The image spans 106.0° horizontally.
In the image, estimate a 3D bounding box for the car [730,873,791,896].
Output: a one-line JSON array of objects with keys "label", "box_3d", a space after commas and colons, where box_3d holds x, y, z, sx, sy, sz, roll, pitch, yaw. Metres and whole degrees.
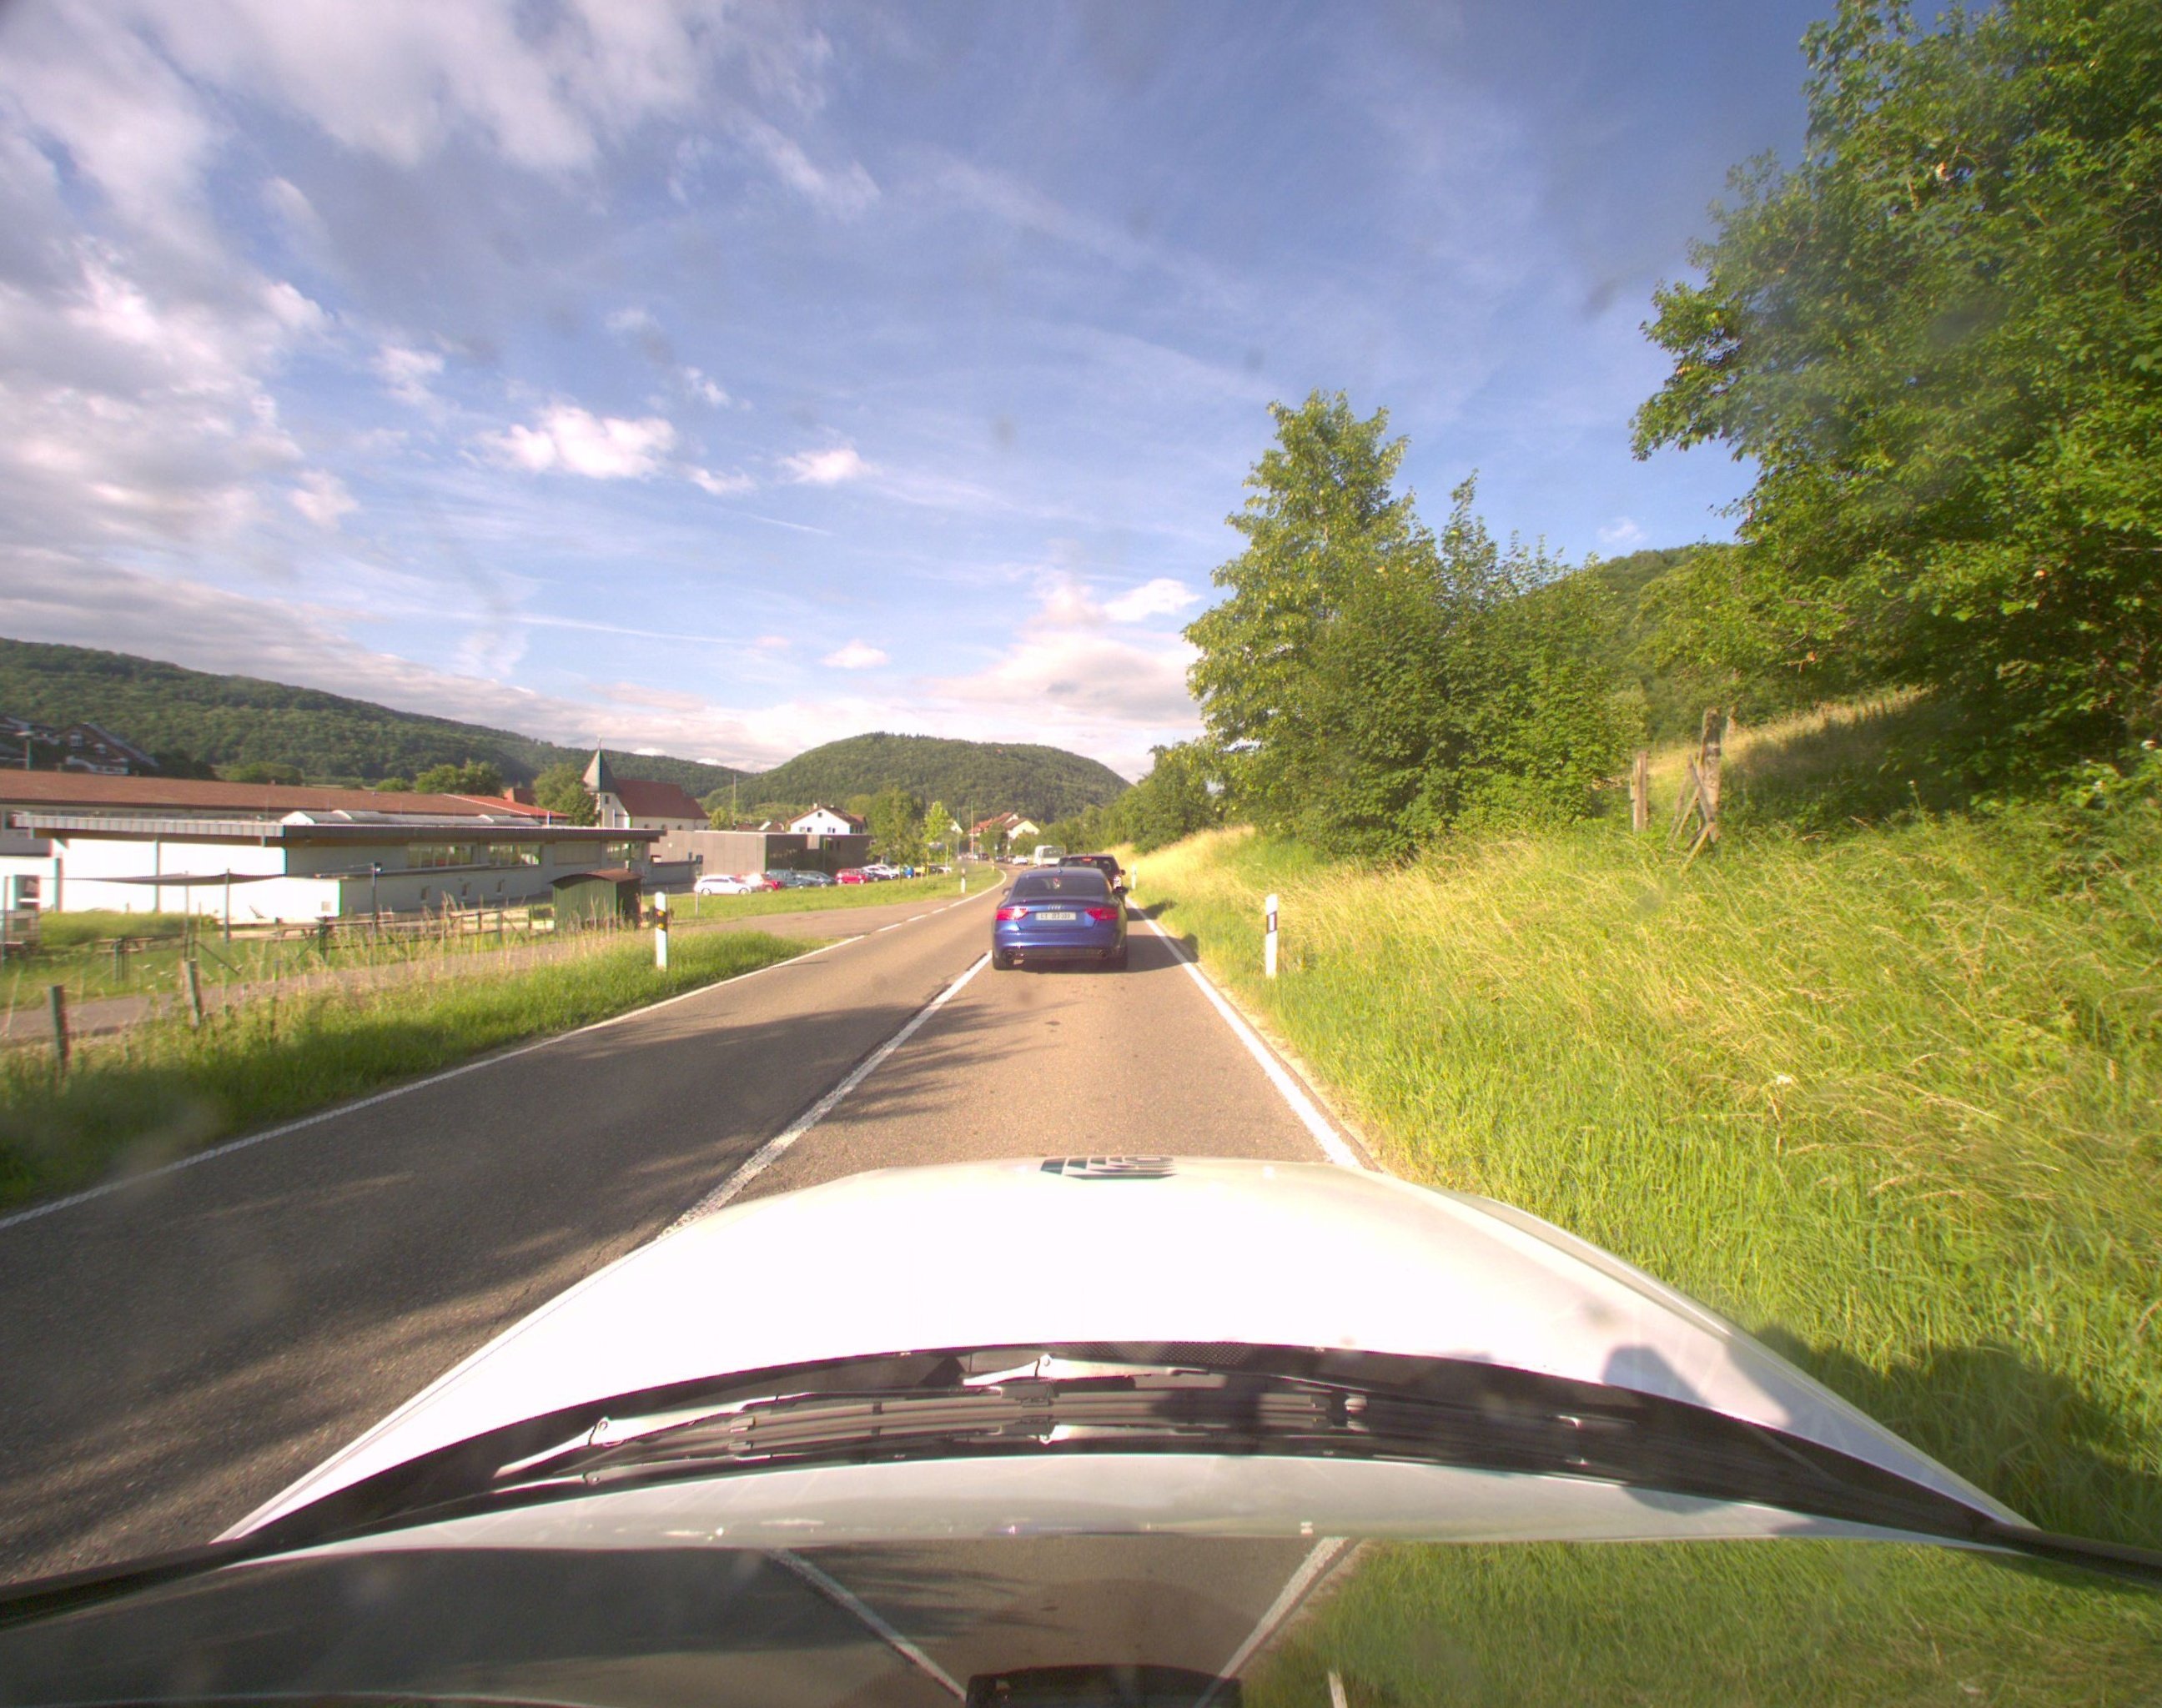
[{"label": "car", "box_3d": [-25.175, 2.397, 64.088, 3.975, 1.711, 1.999, 0, -1, -1]}]

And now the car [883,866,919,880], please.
[{"label": "car", "box_3d": [-22.495, 2.347, 101.937, 3.975, 1.711, 1.999, 0, -1, -1]}]

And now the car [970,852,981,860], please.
[{"label": "car", "box_3d": [-22.713, 0.385, 174.998, 1.850, 1.712, 3.977, 0, -1, -17]}]

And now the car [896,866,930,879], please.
[{"label": "car", "box_3d": [-21.578, 2.367, 104.590, 3.975, 1.711, 1.999, 0, -1, -1]}]

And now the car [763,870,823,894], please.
[{"label": "car", "box_3d": [-24.670, 2.384, 69.891, 4.393, 2.008, 1.999, 0, -1, -1]}]

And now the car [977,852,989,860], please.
[{"label": "car", "box_3d": [-19.933, 0.436, 165.413, 1.850, 1.712, 3.976, 0, -1, -17]}]

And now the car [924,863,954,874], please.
[{"label": "car", "box_3d": [-20.735, 2.066, 119.148, 3.975, 1.579, 1.752, 0, -1, -1]}]

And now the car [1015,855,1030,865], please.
[{"label": "car", "box_3d": [-8.564, 0.880, 119.023, 1.845, 1.482, 3.987, 0, -1, -9]}]

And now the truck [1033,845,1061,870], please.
[{"label": "truck", "box_3d": [-3.619, 0.390, 85.641, 2.229, 2.570, 6.687, 0, -1, -9]}]

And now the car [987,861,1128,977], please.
[{"label": "car", "box_3d": [-0.198, 0.822, 12.014, 1.747, 1.430, 3.849, 0, -1, 3]}]

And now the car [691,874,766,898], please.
[{"label": "car", "box_3d": [-26.401, 2.375, 61.108, 4.716, 1.711, 1.999, 0, -1, -1]}]

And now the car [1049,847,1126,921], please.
[{"label": "car", "box_3d": [0.248, 0.701, 20.605, 1.747, 1.681, 3.849, 0, -1, 3]}]

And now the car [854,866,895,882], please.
[{"label": "car", "box_3d": [-22.598, 2.217, 89.203, 3.975, 1.711, 1.999, 0, -1, -1]}]

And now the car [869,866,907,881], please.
[{"label": "car", "box_3d": [-22.745, 2.289, 96.152, 3.975, 1.711, 1.999, 0, -1, -1]}]

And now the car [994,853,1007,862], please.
[{"label": "car", "box_3d": [-14.539, 0.639, 146.415, 1.847, 1.712, 3.982, 0, -1, -13]}]

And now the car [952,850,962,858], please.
[{"label": "car", "box_3d": [-30.270, 0.026, 198.310, 1.850, 1.712, 3.976, 0, -1, -18]}]

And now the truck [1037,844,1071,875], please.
[{"label": "truck", "box_3d": [-2.418, 0.467, 70.182, 2.229, 2.570, 6.085, 0, -1, -9]}]

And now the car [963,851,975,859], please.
[{"label": "car", "box_3d": [-25.176, 0.313, 182.976, 1.851, 1.712, 3.975, 0, -1, -18]}]

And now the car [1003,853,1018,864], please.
[{"label": "car", "box_3d": [-11.336, 0.712, 131.266, 1.847, 1.712, 3.982, 0, -1, -13]}]

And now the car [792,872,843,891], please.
[{"label": "car", "box_3d": [-24.051, 2.494, 74.381, 3.975, 1.711, 1.999, 0, -1, -1]}]

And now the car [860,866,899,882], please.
[{"label": "car", "box_3d": [-22.954, 2.257, 92.870, 3.975, 1.711, 1.999, 0, -1, -1]}]

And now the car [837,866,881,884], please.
[{"label": "car", "box_3d": [-23.046, 2.174, 84.662, 3.975, 1.711, 1.999, 0, -1, -1]}]

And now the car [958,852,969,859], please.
[{"label": "car", "box_3d": [-27.519, 0.304, 190.751, 1.849, 1.712, 3.978, 0, -1, -16]}]
